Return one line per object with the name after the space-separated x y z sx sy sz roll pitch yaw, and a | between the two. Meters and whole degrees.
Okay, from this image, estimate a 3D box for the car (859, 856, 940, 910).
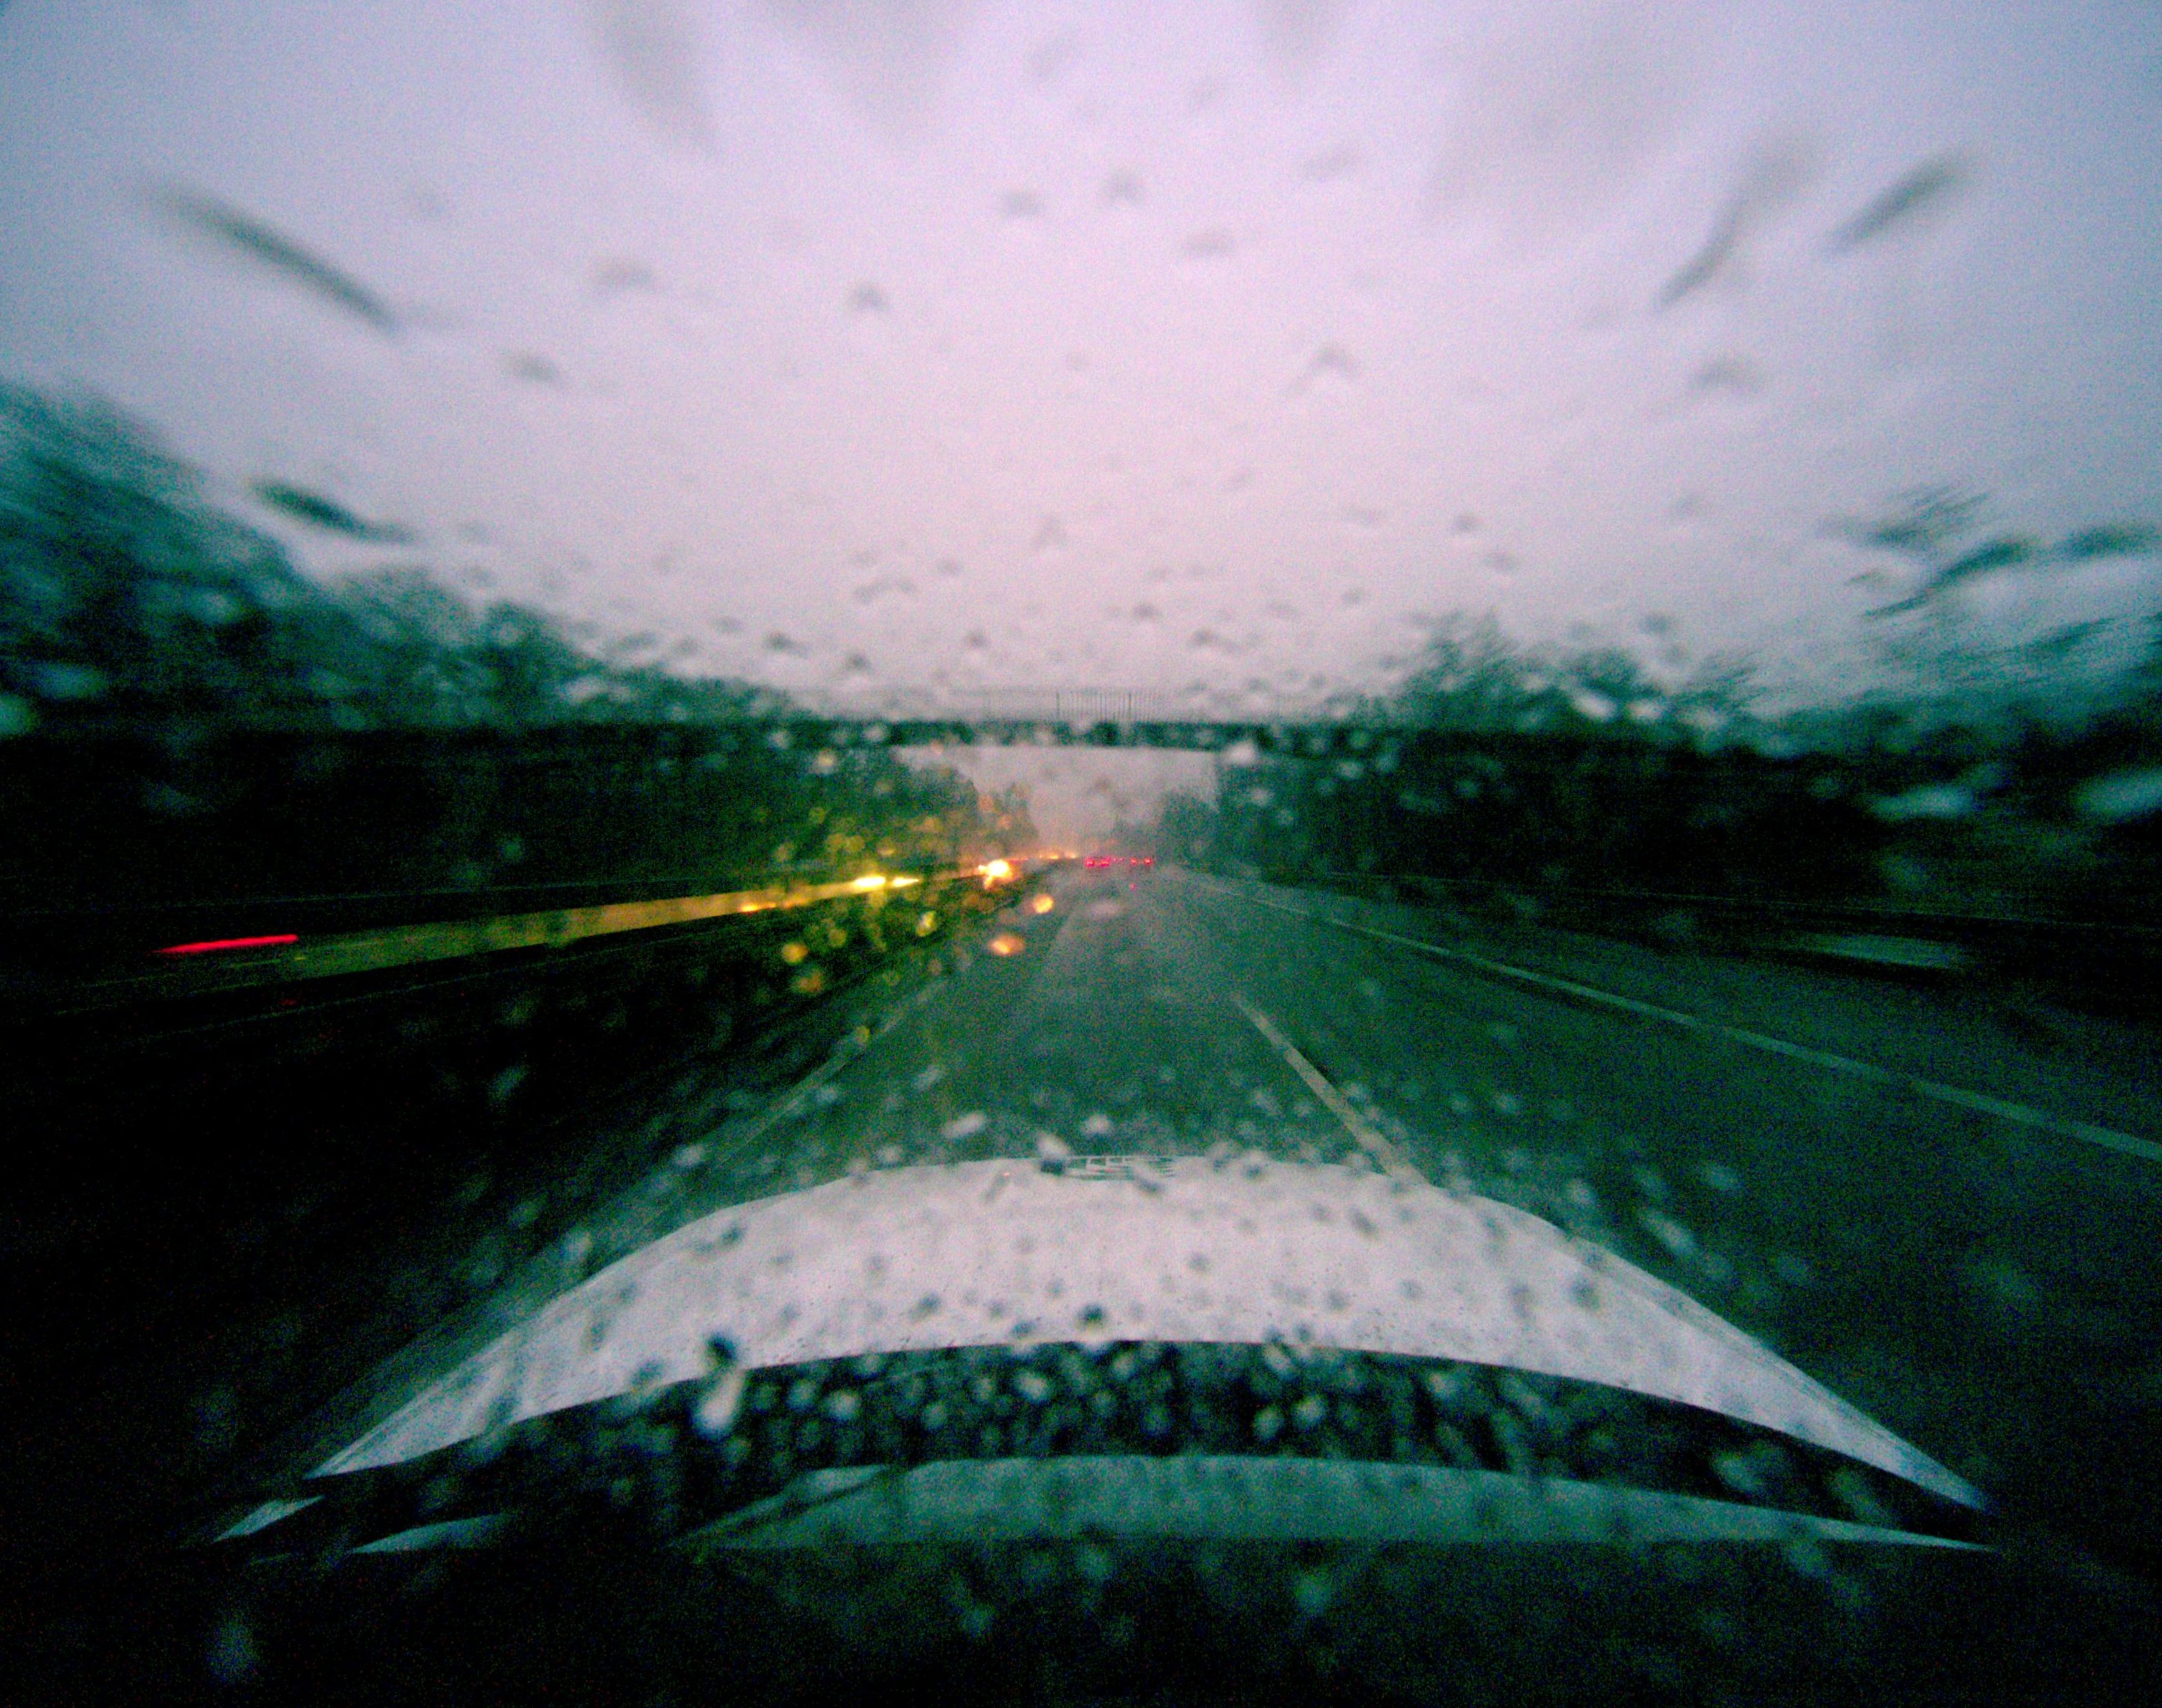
-6.349 0.960 29.035 1.728 1.768 4.617 0 0 1 | car

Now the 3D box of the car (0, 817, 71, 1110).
-7.432 0.636 2.424 1.985 1.716 5.370 1 0 3 | car

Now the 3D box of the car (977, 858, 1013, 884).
-6.088 1.183 58.329 1.897 1.768 5.261 0 0 1 | car

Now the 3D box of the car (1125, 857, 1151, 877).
5.249 1.181 75.269 2.063 1.698 4.460 -1 0 0 | car

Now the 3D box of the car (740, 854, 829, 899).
-11.220 0.814 31.134 1.773 1.607 4.002 -1 0 2 | car

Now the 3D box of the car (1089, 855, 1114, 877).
1.625 0.949 65.720 1.979 1.767 4.173 -1 0 1 | car
